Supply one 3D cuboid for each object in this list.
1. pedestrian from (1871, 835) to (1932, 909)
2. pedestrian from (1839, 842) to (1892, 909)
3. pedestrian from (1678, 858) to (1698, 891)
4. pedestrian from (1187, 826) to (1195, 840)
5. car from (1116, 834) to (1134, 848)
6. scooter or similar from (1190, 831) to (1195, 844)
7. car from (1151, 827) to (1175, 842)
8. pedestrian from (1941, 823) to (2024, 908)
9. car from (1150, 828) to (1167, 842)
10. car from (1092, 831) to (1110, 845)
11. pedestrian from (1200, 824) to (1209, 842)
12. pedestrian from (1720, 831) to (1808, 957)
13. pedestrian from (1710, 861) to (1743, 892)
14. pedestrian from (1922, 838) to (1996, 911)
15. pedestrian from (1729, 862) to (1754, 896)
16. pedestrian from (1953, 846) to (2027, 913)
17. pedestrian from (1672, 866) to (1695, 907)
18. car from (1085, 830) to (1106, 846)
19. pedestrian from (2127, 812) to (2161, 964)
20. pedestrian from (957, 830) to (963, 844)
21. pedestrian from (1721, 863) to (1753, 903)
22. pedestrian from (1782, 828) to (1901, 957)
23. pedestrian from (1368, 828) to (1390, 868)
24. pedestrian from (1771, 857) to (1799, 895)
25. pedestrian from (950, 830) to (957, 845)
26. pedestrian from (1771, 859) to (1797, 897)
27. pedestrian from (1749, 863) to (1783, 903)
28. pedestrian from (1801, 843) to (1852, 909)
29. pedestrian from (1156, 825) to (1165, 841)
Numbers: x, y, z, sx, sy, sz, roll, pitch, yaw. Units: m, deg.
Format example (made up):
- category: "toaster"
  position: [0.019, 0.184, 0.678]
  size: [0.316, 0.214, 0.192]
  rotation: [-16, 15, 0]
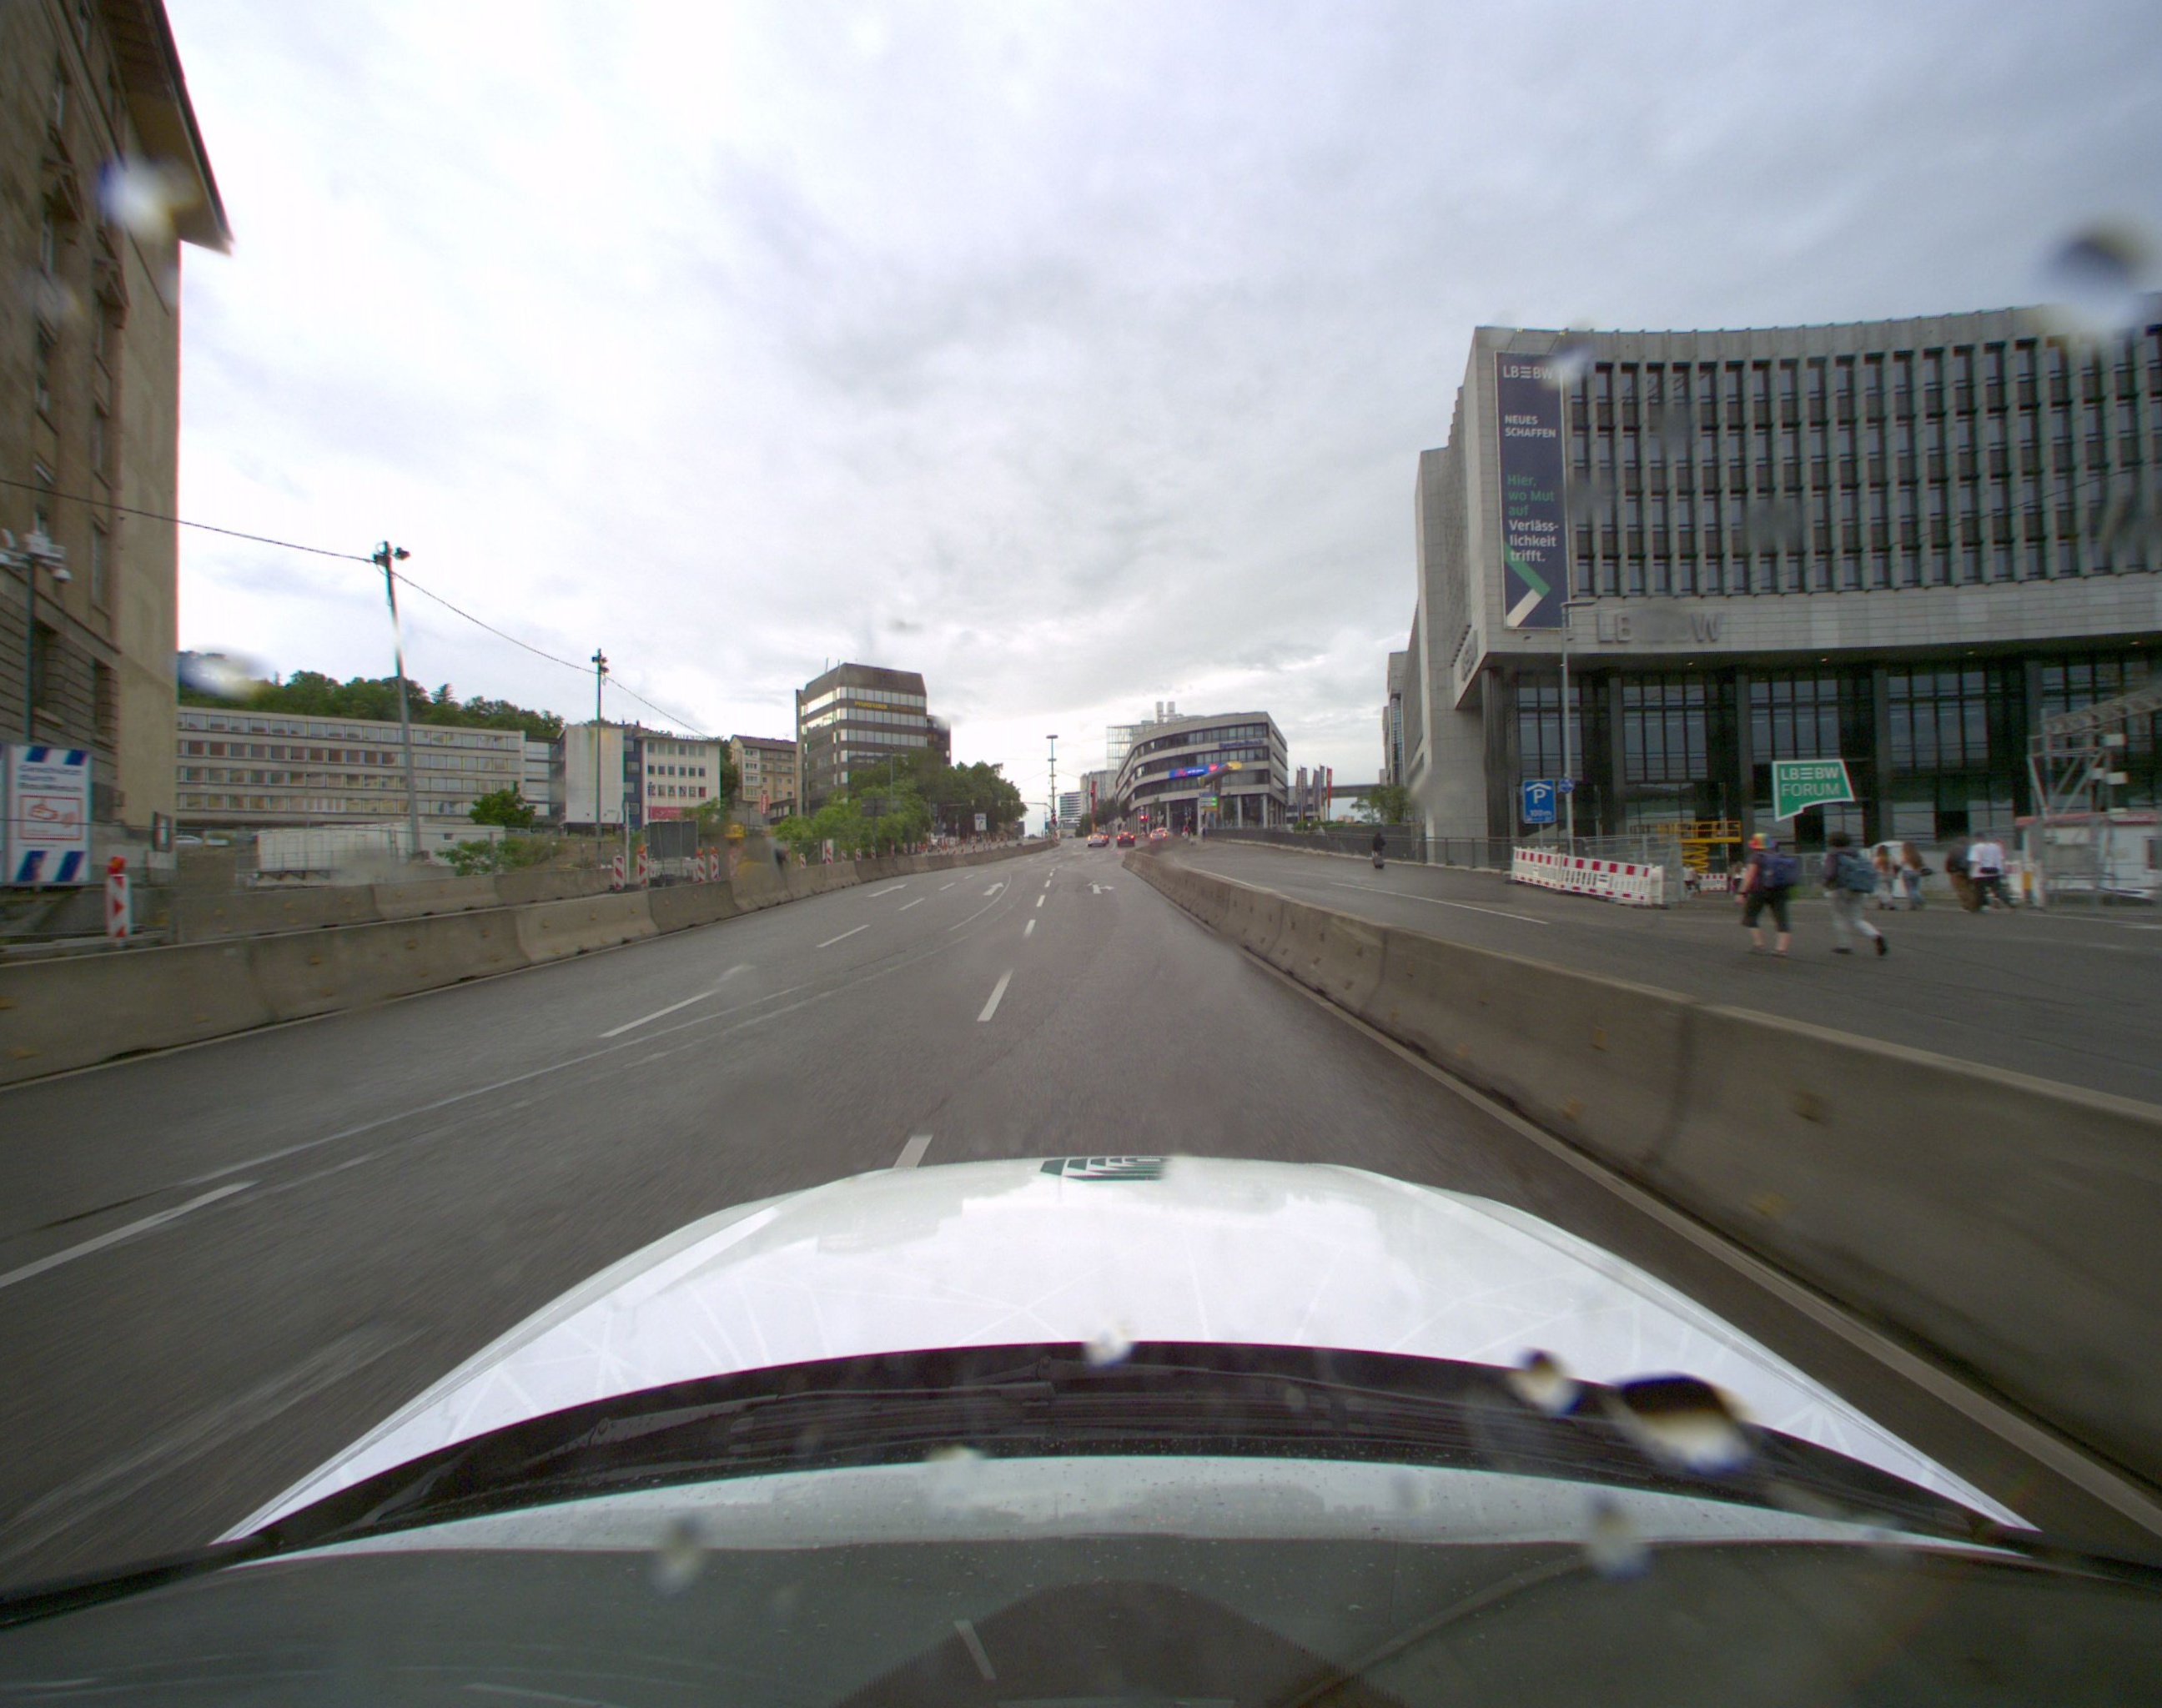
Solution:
- category: "pedestrian"
  position: [20.382, 0.432, 20.247]
  size: [0.763, 1.783, 1.014]
  rotation: [-2, -1, 28]
- category: "pedestrian"
  position: [19.570, 0.522, 20.330]
  size: [0.691, 1.637, 0.922]
  rotation: [-2, -1, 28]
- category: "pedestrian"
  position: [30.499, 1.028, 40.929]
  size: [0.697, 1.616, 0.569]
  rotation: [-2, -1, 32]
- category: "pedestrian"
  position: [14.697, -2.821, 109.018]
  size: [0.833, 1.904, 0.866]
  rotation: [-2, -1, 25]
- category: "car"
  position: [4.419, -1.336, 82.551]
  size: [1.748, 1.407, 4.230]
  rotation: [0, 1, 2]
- category: "scooter or similar"
  position: [9.973, -1.446, 72.840]
  size: [0.346, 1.162, 0.575]
  rotation: [-1, 0, 14]
- category: "car"
  position: [9.542, -2.320, 94.633]
  size: [1.756, 1.634, 4.604]
  rotation: [-1, 2, 19]
- category: "pedestrian"
  position: [19.504, 0.250, 17.648]
  size: [0.858, 1.781, 1.014]
  rotation: [-2, -1, 28]
- category: "car"
  position: [8.293, -2.032, 87.272]
  size: [1.692, 1.451, 4.625]
  rotation: [-1, 1, 7]
- category: "car"
  position: [2.303, -1.840, 93.176]
  size: [1.736, 1.443, 3.996]
  rotation: [-2, 2, -4]
- category: "pedestrian"
  position: [12.184, -2.075, 80.595]
  size: [0.727, 1.711, 0.843]
  rotation: [-1, -1, -2]
- category: "pedestrian"
  position: [8.940, 0.498, 10.697]
  size: [0.725, 1.575, 0.809]
  rotation: [0, 0, 27]
- category: "pedestrian"
  position: [34.472, 1.188, 43.502]
  size: [1.003, 1.637, 0.868]
  rotation: [-1, -1, -4]
- category: "pedestrian"
  position: [20.460, 0.465, 19.009]
  size: [0.858, 1.637, 1.014]
  rotation: [-2, -1, 28]
- category: "pedestrian"
  position: [33.009, 1.246, 40.674]
  size: [0.858, 1.637, 1.014]
  rotation: [-2, -1, 43]
- category: "pedestrian"
  position: [22.012, 0.605, 19.740]
  size: [0.858, 1.553, 1.014]
  rotation: [-2, -1, 28]
- category: "pedestrian"
  position: [24.614, 1.335, 33.280]
  size: [0.756, 1.637, 0.580]
  rotation: [-1, -1, -43]
- category: "car"
  position: [1.557, -1.731, 84.618]
  size: [1.955, 1.548, 4.224]
  rotation: [-2, 2, 4]
- category: "pedestrian"
  position: [12.556, 0.374, 9.032]
  size: [0.771, 1.723, 0.895]
  rotation: [-2, -1, 18]
- category: "pedestrian"
  position: [-16.650, -2.283, 112.195]
  size: [0.669, 1.901, 0.776]
  rotation: [-1, -1, 1]
- category: "pedestrian"
  position: [27.561, 1.216, 34.233]
  size: [0.858, 1.637, 1.014]
  rotation: [-2, -1, 28]
- category: "pedestrian"
  position: [9.877, 0.482, 10.626]
  size: [0.852, 1.593, 0.958]
  rotation: [-2, -1, 27]
- category: "pedestrian"
  position: [12.704, -0.263, 34.662]
  size: [0.723, 1.652, 1.067]
  rotation: [-1, 0, 27]
- category: "pedestrian"
  position: [31.454, 0.971, 36.397]
  size: [0.656, 1.637, 0.733]
  rotation: [-1, -1, -32]
- category: "pedestrian"
  position: [-17.525, -2.272, 112.190]
  size: [0.758, 1.922, 0.742]
  rotation: [-1, -1, 1]
- category: "pedestrian"
  position: [33.712, 1.144, 39.053]
  size: [0.643, 1.815, 0.749]
  rotation: [-1, -1, -32]
- category: "pedestrian"
  position: [28.413, 1.191, 33.791]
  size: [0.858, 1.637, 1.014]
  rotation: [-2, -1, 28]
- category: "pedestrian"
  position: [18.956, 0.546, 20.734]
  size: [0.717, 1.637, 0.922]
  rotation: [-2, -1, 28]
- category: "pedestrian"
  position: [10.788, -2.819, 110.373]
  size: [0.856, 2.098, 0.897]
  rotation: [0, 1, -24]
